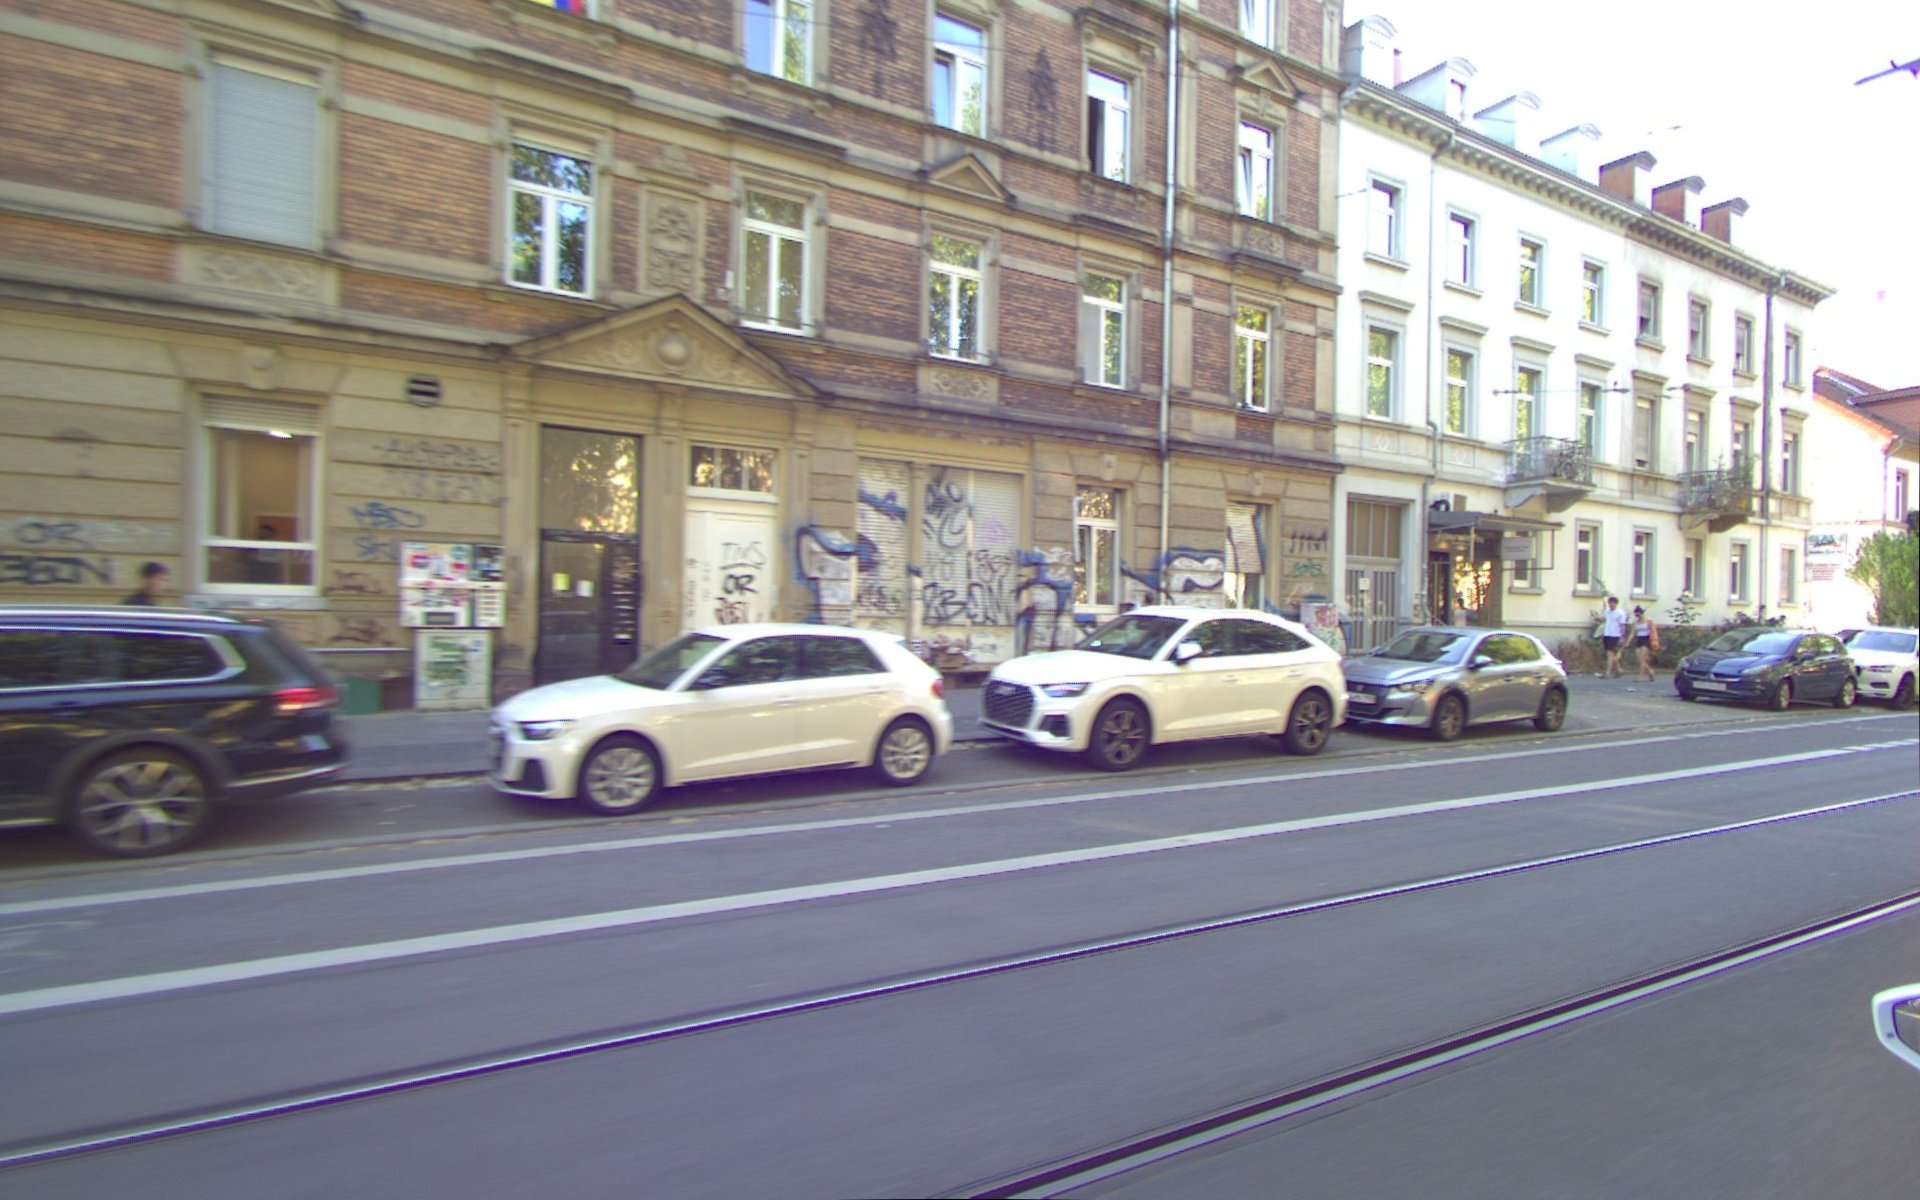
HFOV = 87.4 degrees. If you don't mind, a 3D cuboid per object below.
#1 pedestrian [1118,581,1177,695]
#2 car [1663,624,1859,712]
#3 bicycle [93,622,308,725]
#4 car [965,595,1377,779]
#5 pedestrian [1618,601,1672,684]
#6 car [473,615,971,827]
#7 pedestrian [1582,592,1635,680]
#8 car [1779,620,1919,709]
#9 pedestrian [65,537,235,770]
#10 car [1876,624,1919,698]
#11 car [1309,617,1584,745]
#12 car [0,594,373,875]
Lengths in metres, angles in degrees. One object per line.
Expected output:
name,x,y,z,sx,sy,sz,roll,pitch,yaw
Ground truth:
pedestrian,2.875,0.575,15.477,0.753,1.687,0.664,2,1,2
car,15.400,1.255,19.277,3.874,1.535,1.548,1,-1,-28
bicycle,-8.236,0.779,10.984,1.829,1.048,0.370,1,-1,-33
car,2.524,0.898,11.617,4.663,1.746,1.778,2,0,-30
pedestrian,15.615,0.946,22.902,0.821,1.845,0.755,1,0,-33
car,-2.010,0.911,8.920,3.959,1.439,1.688,2,0,-35
pedestrian,15.317,0.840,23.729,0.821,2.040,0.755,1,0,-32
car,19.917,1.339,21.723,4.705,1.726,1.848,1,-1,-30
pedestrian,-6.788,0.424,8.459,1.048,1.825,0.678,1,1,-39
car,24.313,1.475,24.601,4.613,1.726,1.844,1,-1,-35
car,6.990,1.071,14.333,4.020,1.541,1.653,2,0,-33
car,-6.418,0.762,6.248,4.732,1.583,1.731,2,0,-32
